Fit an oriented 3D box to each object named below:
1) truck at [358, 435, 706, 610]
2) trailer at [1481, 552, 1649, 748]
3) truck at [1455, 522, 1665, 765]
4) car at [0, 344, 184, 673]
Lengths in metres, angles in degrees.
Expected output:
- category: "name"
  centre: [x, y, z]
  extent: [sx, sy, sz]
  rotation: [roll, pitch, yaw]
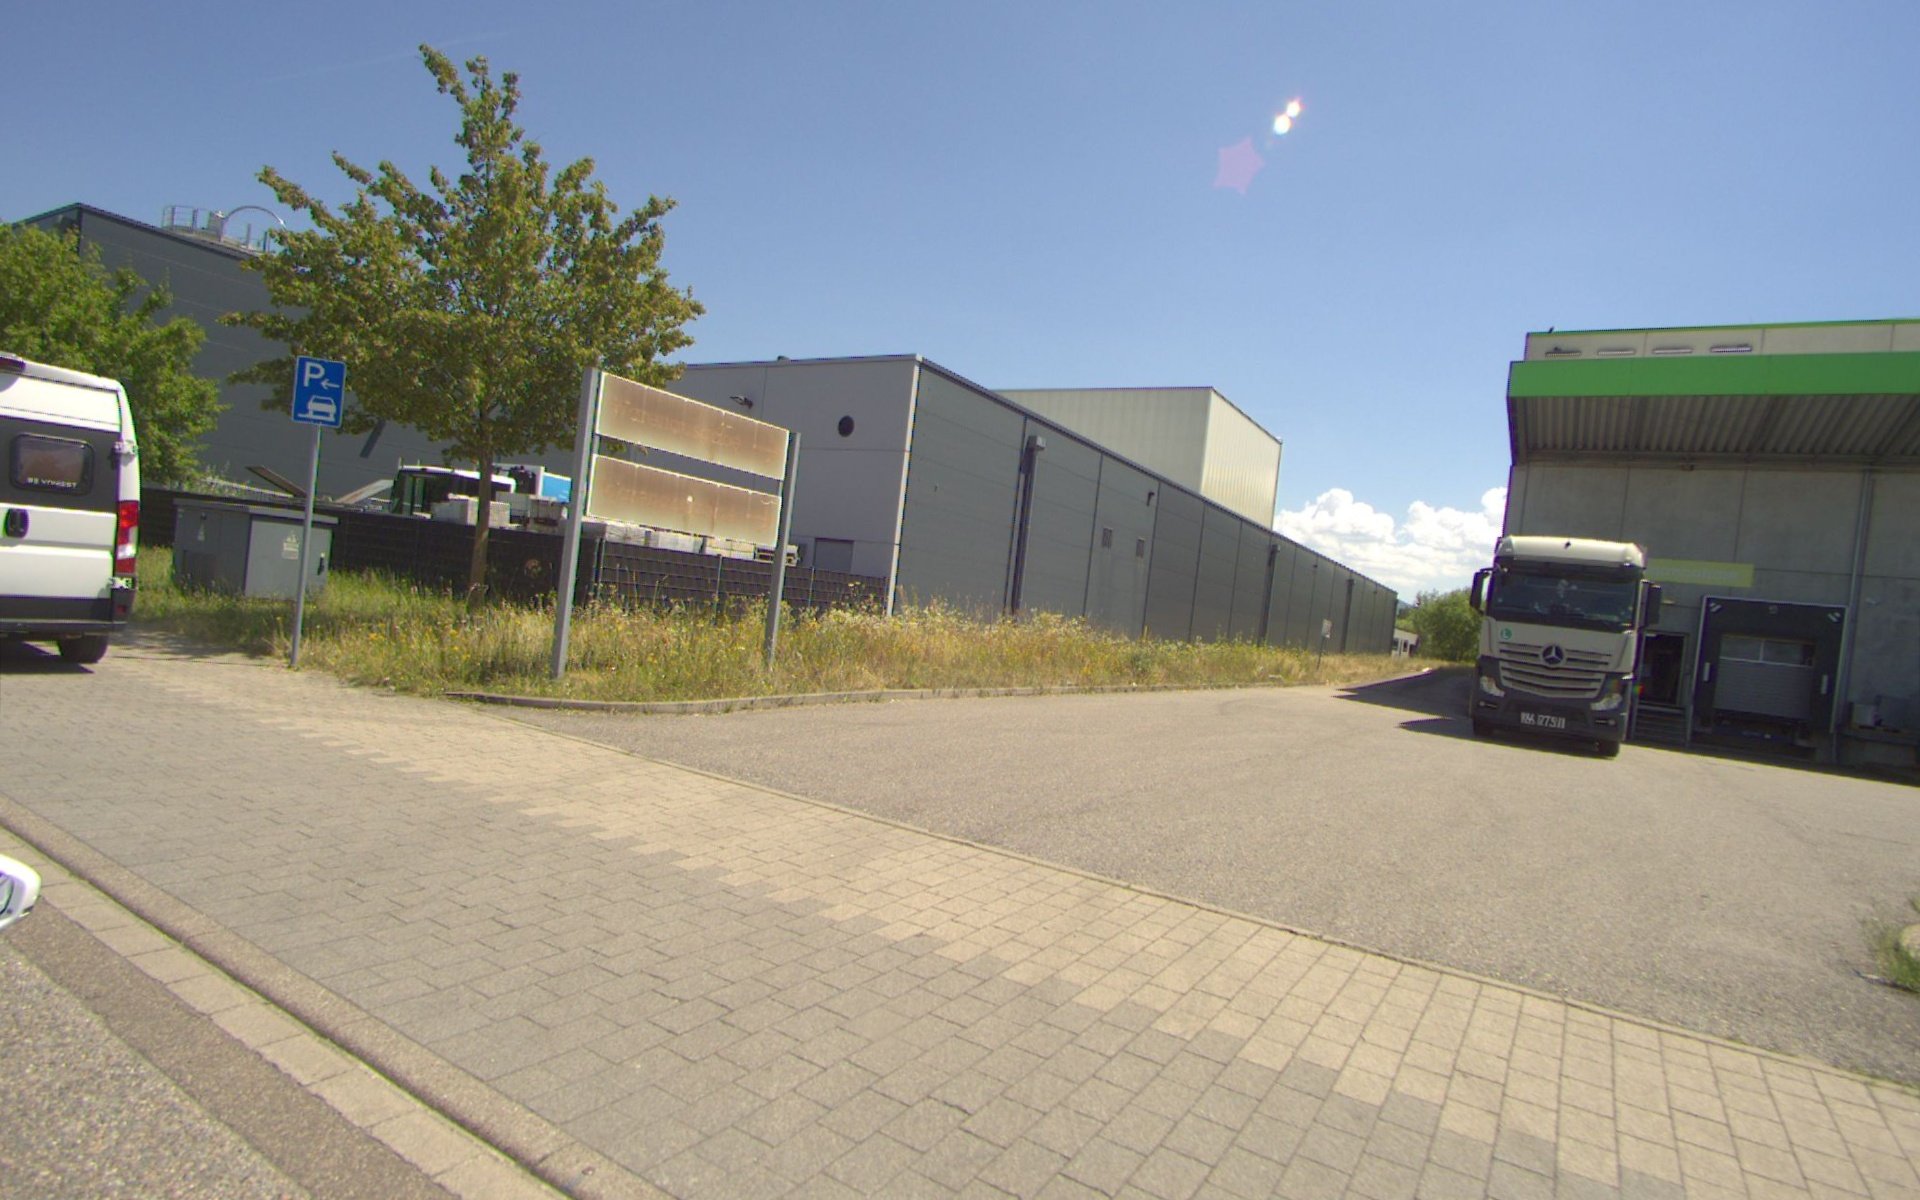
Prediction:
- category: "truck"
  centre: [-11.889, -1.928, 29.604]
  extent: [2.981, 3.871, 10.004]
  rotation: [6, 1, 22]
- category: "trailer"
  centre: [16.241, 1.437, 26.917]
  extent: [2.758, 3.923, 12.630]
  rotation: [6, -1, 32]
- category: "truck"
  centre: [11.569, 0.834, 19.441]
  extent: [2.758, 3.923, 5.067]
  rotation: [6, 0, 32]
- category: "car"
  centre: [-9.893, -0.972, 9.427]
  extent: [6.054, 2.529, 2.268]
  rotation: [7, 1, 34]
